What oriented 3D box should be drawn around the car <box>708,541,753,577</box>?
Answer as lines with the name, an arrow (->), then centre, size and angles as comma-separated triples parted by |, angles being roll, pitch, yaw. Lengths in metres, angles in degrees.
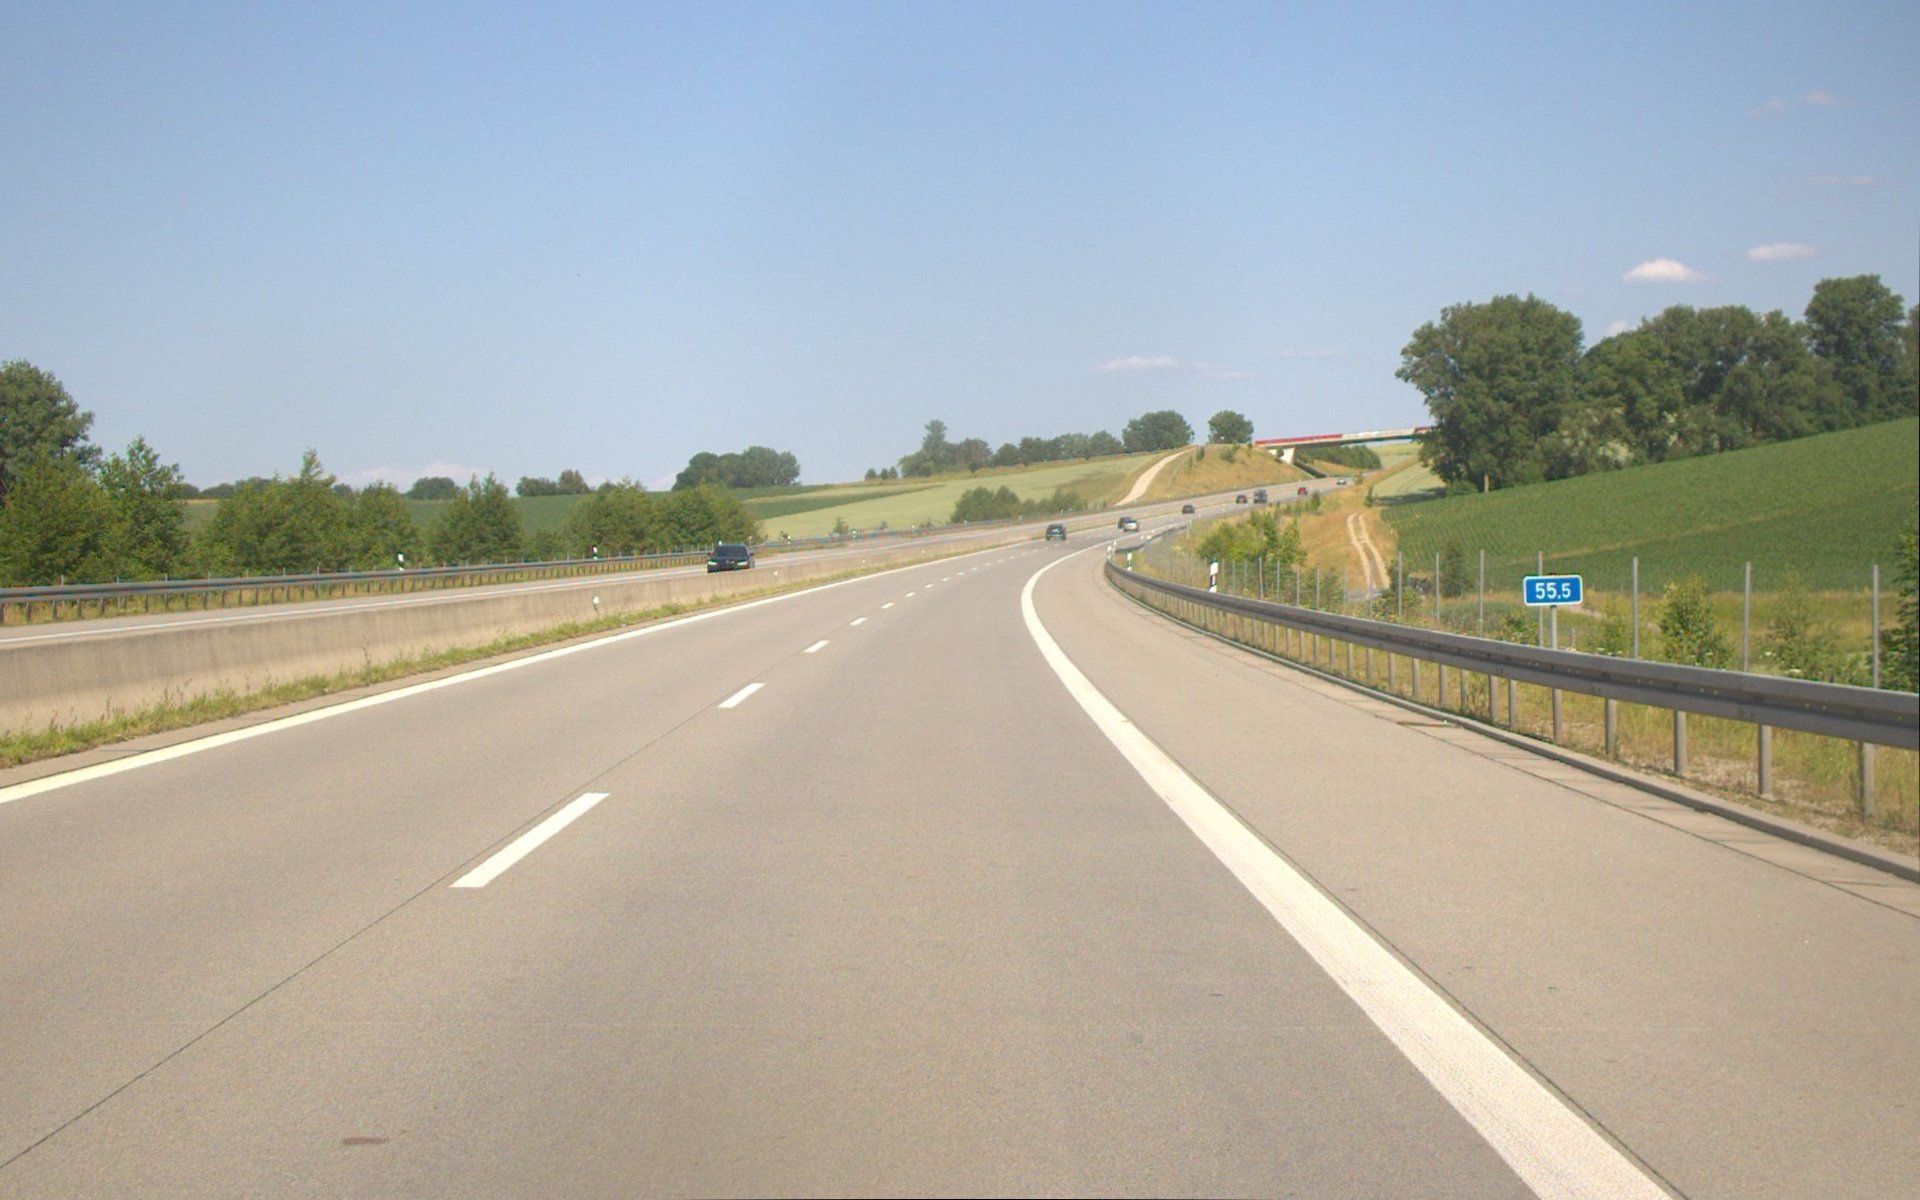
car -> -10.277, -1.840, 154.490 | 1.710, 1.584, 4.627 | 1, 0, 0

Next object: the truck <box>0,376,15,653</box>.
truck -> -15.228, -1.141, 43.309 | 2.859, 3.994, 13.869 | -1, 1, 0
